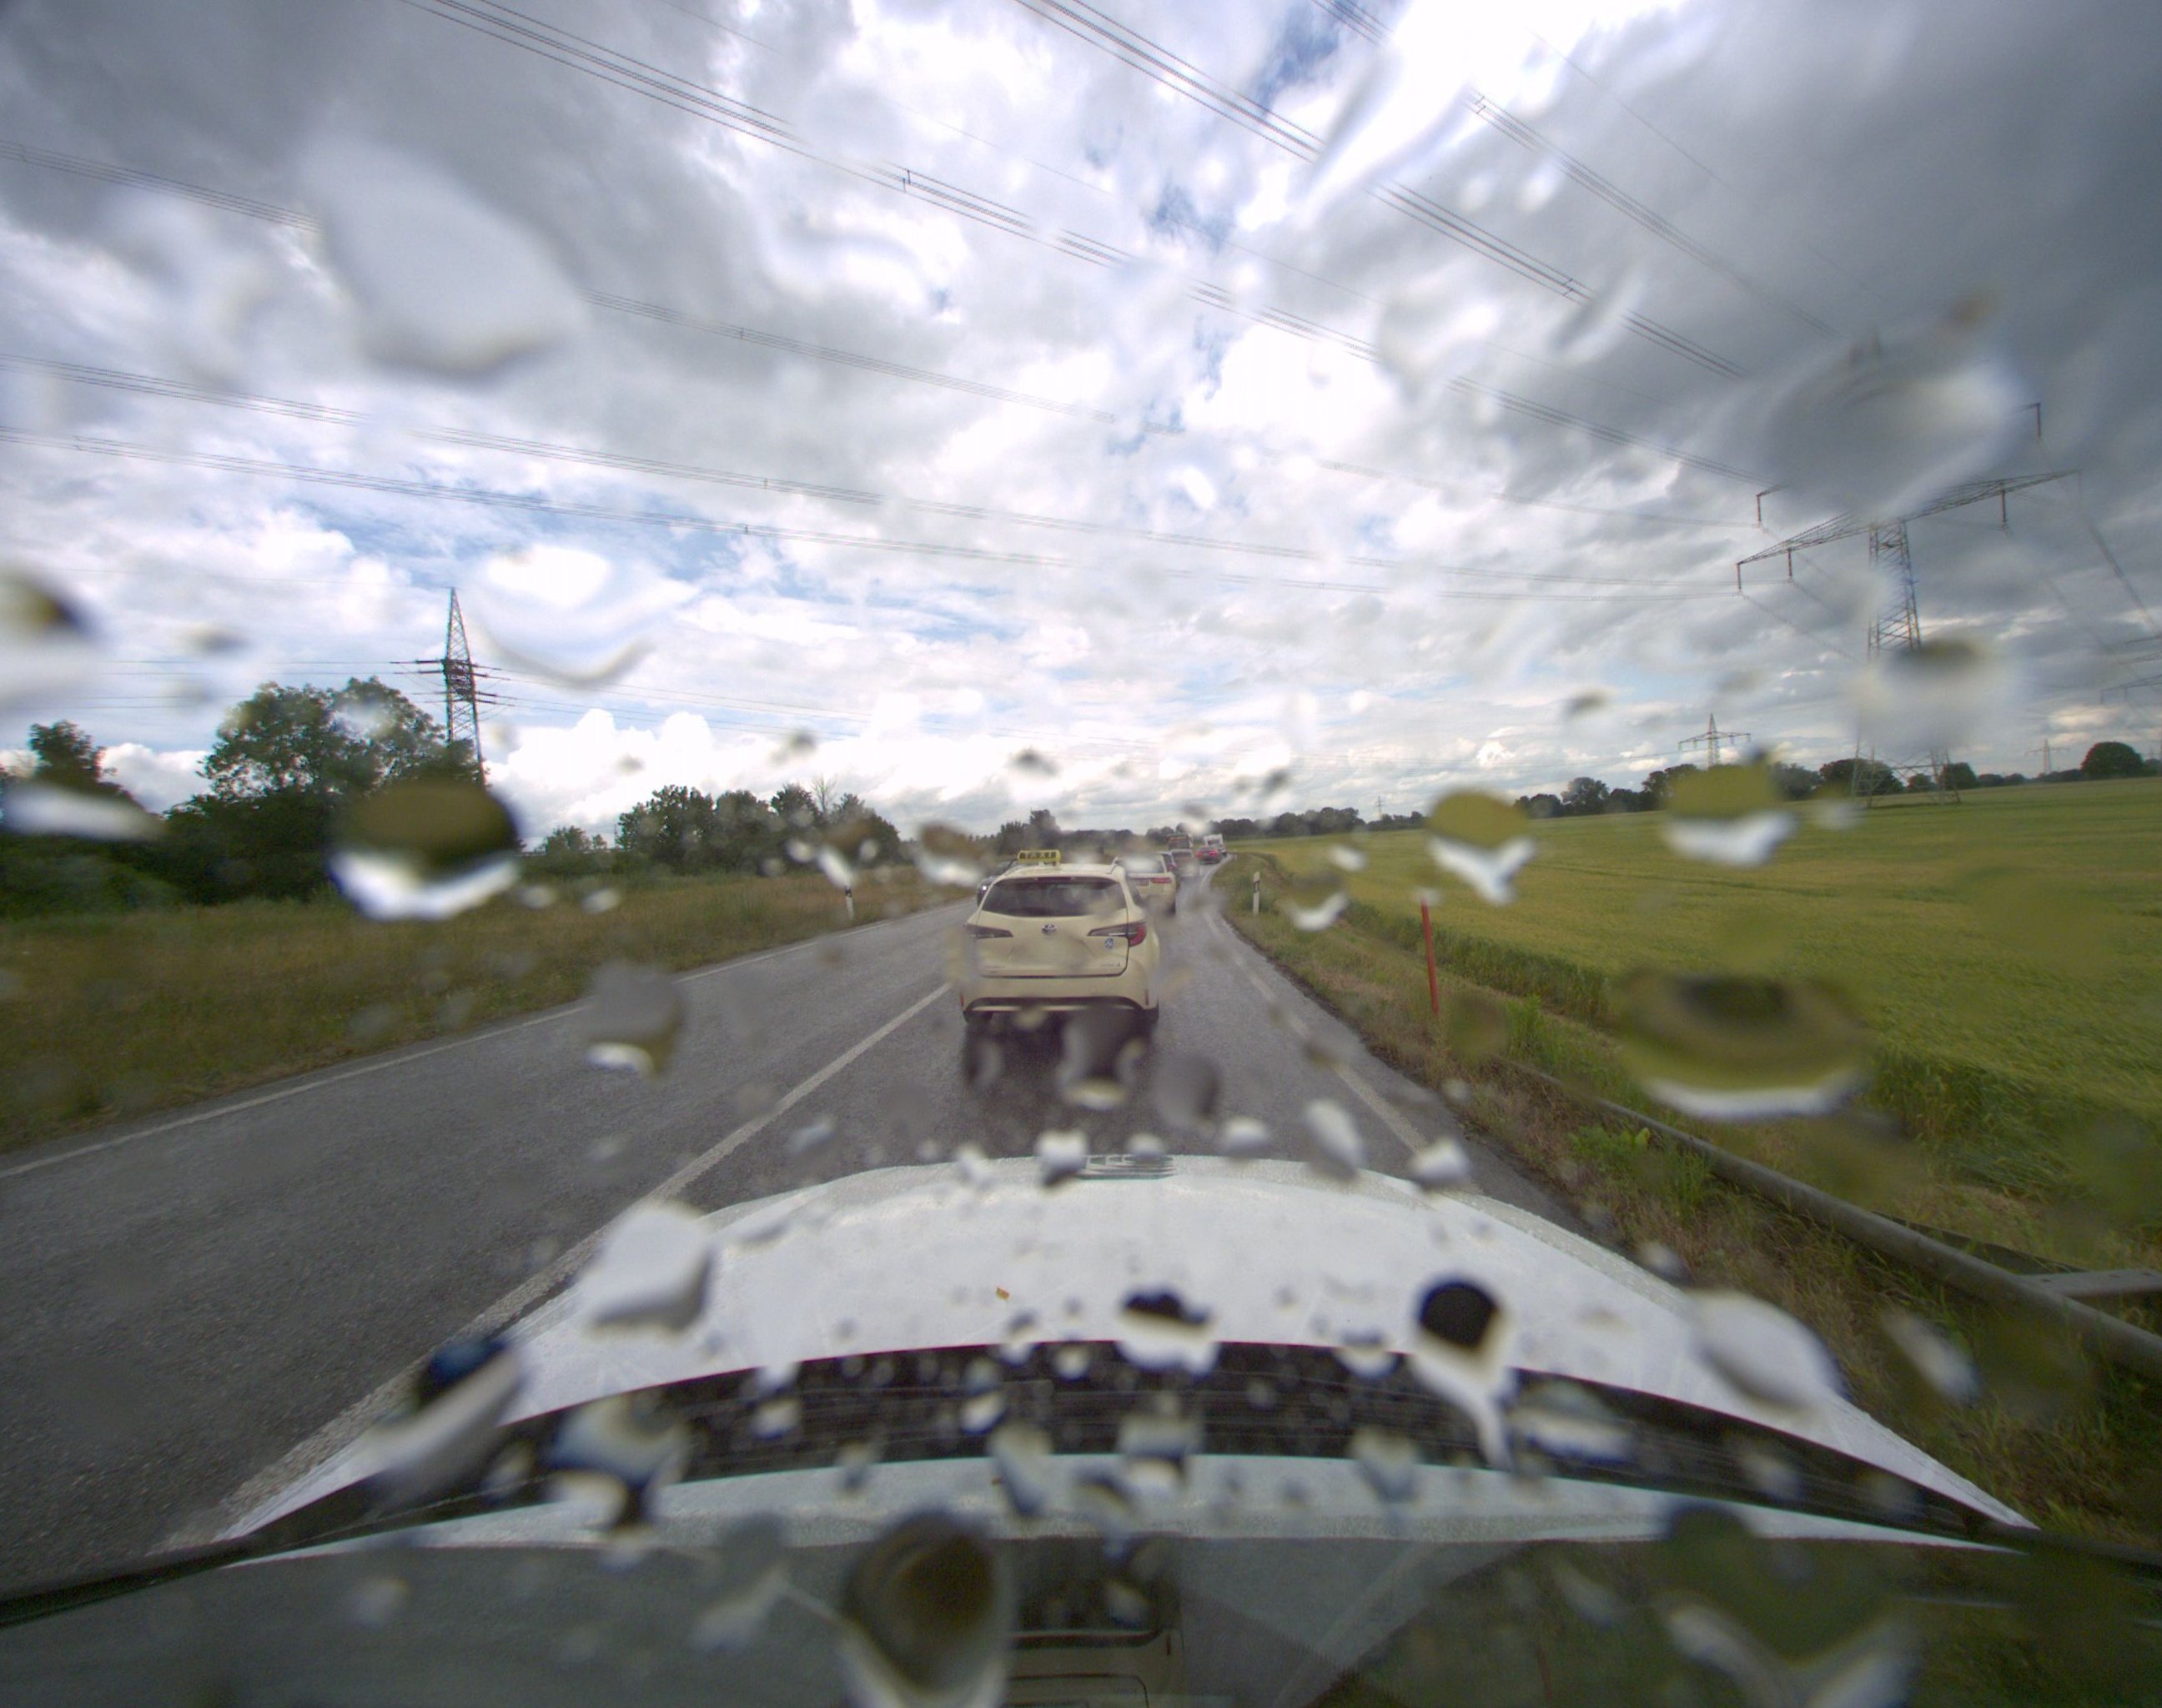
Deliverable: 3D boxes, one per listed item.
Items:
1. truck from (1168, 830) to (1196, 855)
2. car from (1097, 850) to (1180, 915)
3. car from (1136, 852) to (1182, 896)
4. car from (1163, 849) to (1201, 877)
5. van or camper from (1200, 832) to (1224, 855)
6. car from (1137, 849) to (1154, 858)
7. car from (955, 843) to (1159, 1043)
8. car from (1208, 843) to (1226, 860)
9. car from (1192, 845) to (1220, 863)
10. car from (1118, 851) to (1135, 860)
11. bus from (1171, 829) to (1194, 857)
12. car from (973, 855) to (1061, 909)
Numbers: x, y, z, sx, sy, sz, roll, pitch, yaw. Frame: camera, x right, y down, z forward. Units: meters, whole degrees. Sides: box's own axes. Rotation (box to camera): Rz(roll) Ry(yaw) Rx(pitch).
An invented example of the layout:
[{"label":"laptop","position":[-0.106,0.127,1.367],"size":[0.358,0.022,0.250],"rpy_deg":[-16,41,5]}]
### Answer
[{"label":"truck","position":[16.473,-1.774,133.420],"size":[3.122,3.852,7.371],"rpy_deg":[-1,-1,-5]},{"label":"car","position":[1.627,0.657,21.446],"size":[1.831,1.492,4.619],"rpy_deg":[-1,0,8]},{"label":"car","position":[3.166,0.792,32.664],"size":[1.603,1.659,3.747],"rpy_deg":[-1,-1,9]},{"label":"car","position":[5.412,0.506,43.430],"size":[1.602,1.413,3.751],"rpy_deg":[-1,-1,13]},{"label":"van or camper","position":[16.907,-1.322,105.351],"size":[2.524,2.896,6.753],"rpy_deg":[-1,0,5]},{"label":"car","position":[12.216,-0.090,154.020],"size":[1.887,1.773,4.136],"rpy_deg":[0,-1,-17]},{"label":"car","position":[-0.032,0.728,8.295],"size":[1.605,1.562,3.743],"rpy_deg":[-1,-1,5]},{"label":"car","position":[14.948,-0.252,89.662],"size":[1.948,1.729,3.747],"rpy_deg":[-1,-1,8]},{"label":"car","position":[10.430,-0.006,67.692],"size":[1.947,1.413,4.407],"rpy_deg":[-1,-1,12]},{"label":"car","position":[9.329,0.325,167.437],"size":[1.847,1.859,4.059],"rpy_deg":[0,-1,-21]},{"label":"bus","position":[12.771,-1.357,103.098],"size":[2.744,3.297,12.525],"rpy_deg":[-1,0,6]},{"label":"car","position":[-1.744,0.766,23.563],"size":[1.621,1.397,4.329],"rpy_deg":[-1,-1,8]}]
